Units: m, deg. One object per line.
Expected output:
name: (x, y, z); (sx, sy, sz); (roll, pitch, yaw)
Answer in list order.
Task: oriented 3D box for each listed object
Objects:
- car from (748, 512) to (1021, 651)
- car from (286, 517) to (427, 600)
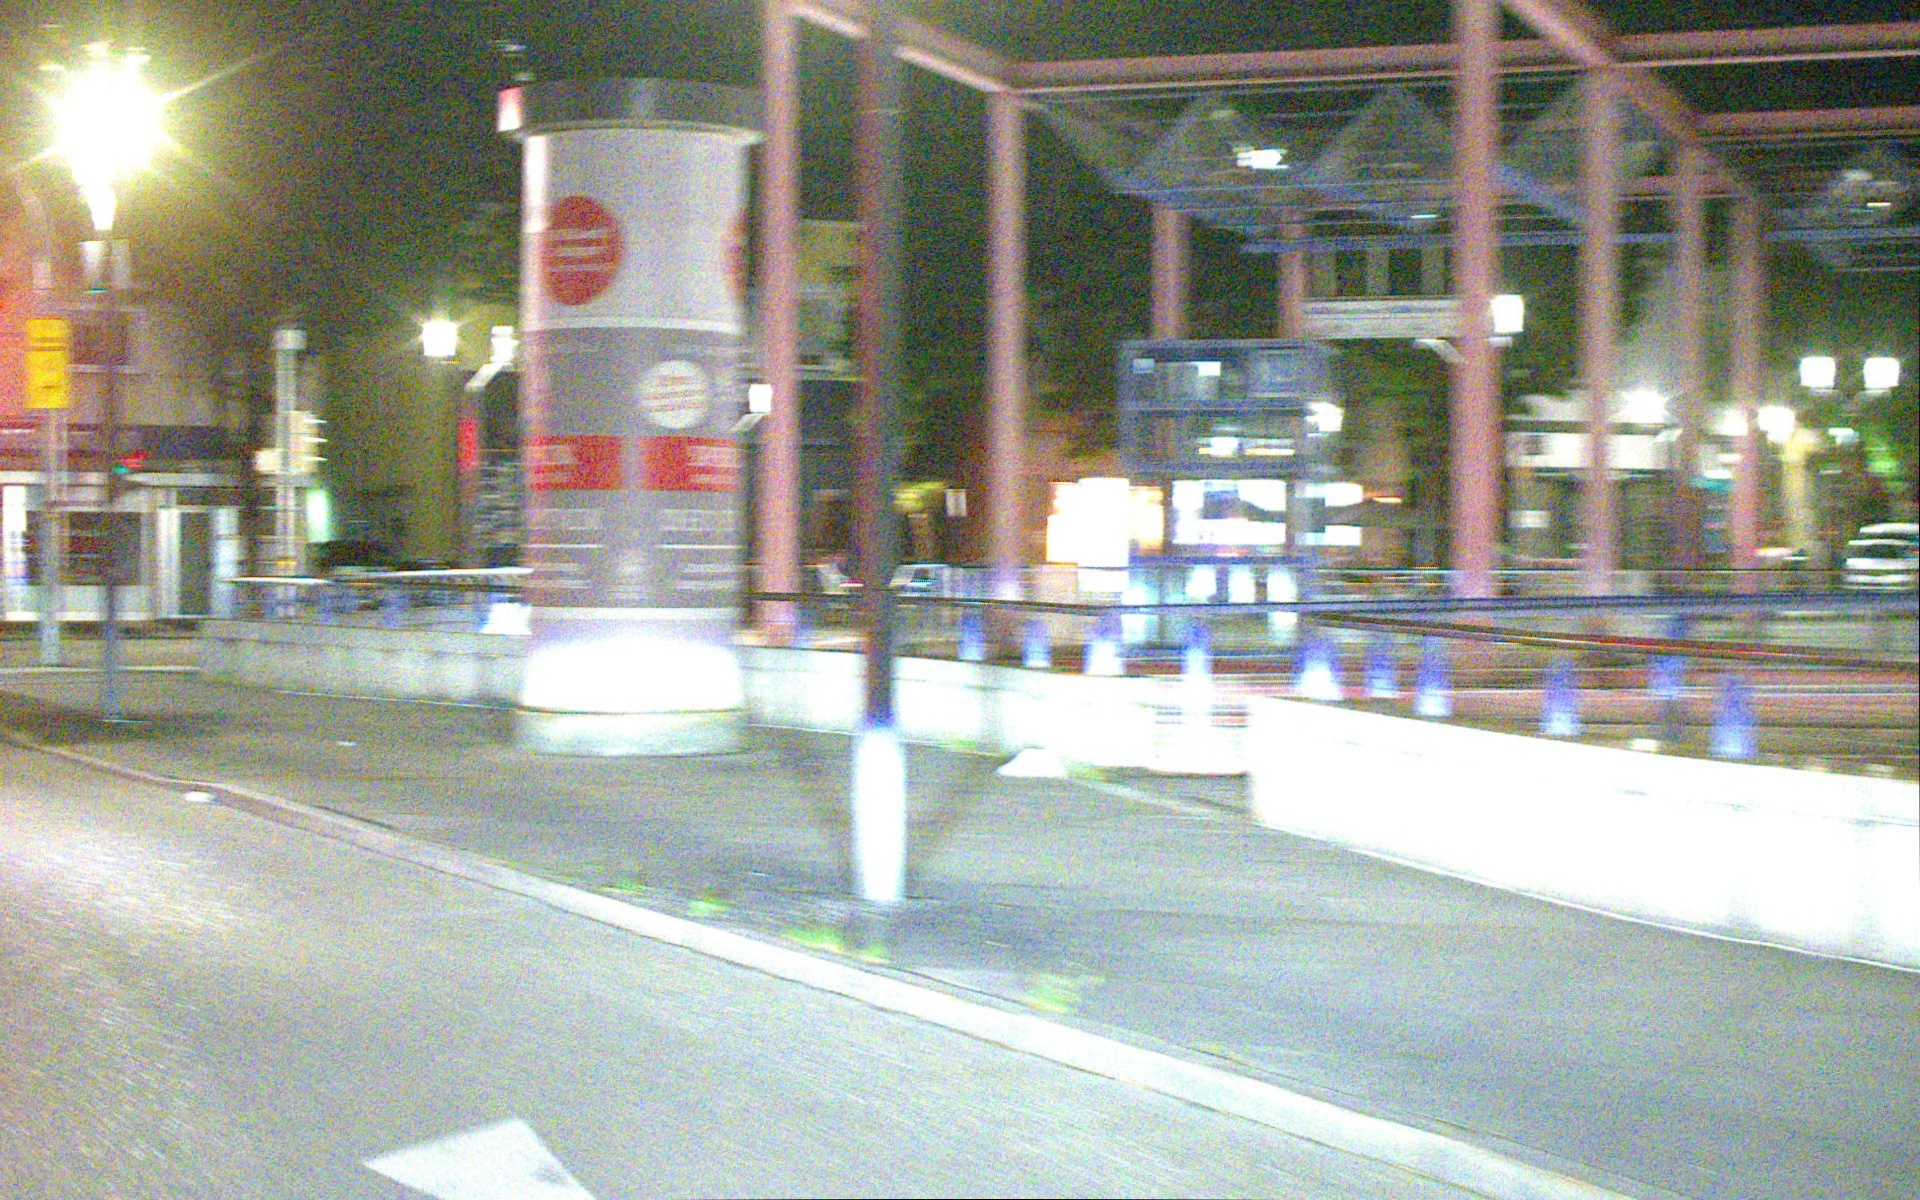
car: (-0.833, -0.268, 41.168); (1.995, 1.568, 4.325); (0, 1, 17)
car: (-11.850, -0.830, 67.343); (1.993, 1.568, 3.655); (-1, 1, -22)
